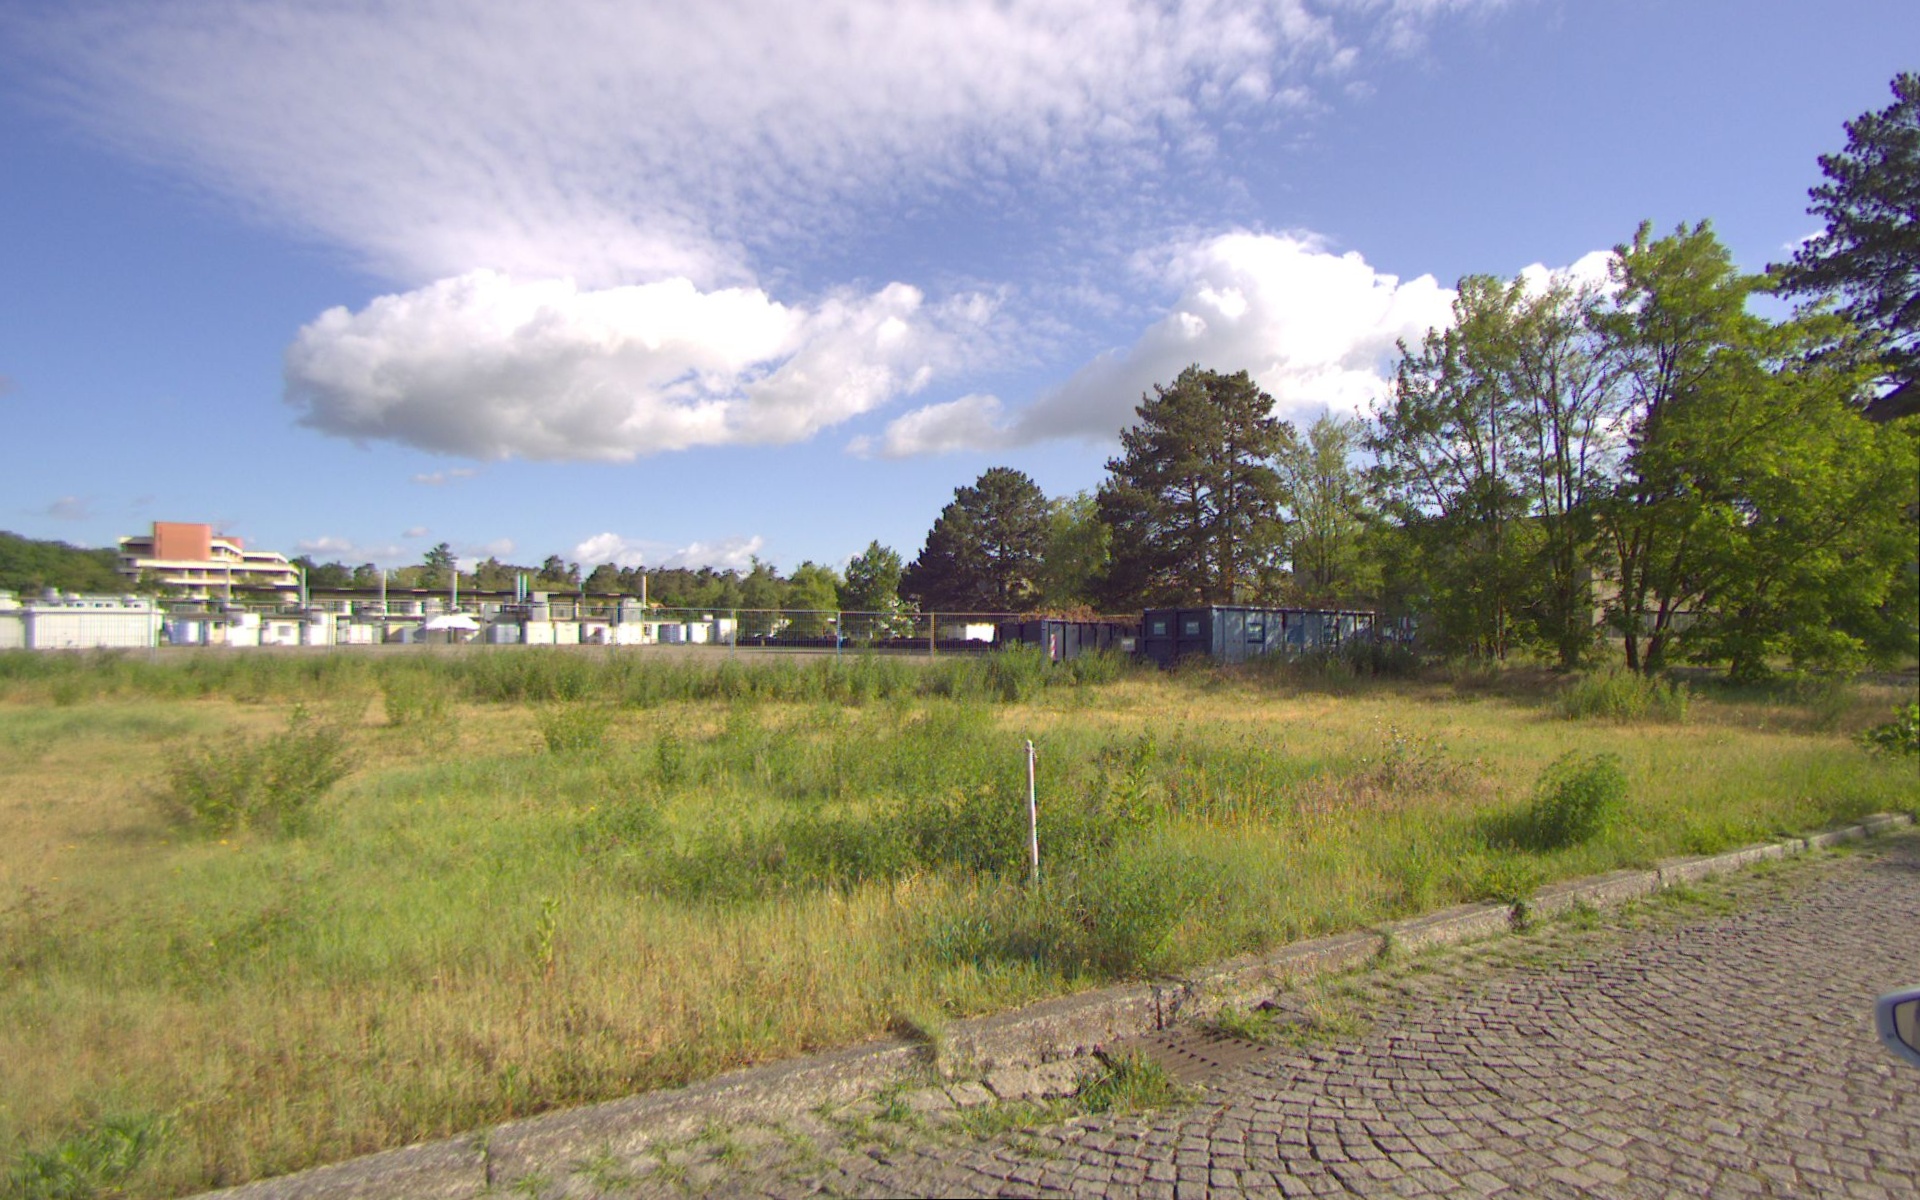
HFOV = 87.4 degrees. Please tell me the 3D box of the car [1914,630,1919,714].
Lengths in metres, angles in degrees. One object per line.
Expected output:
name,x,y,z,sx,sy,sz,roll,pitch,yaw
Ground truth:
car,20.222,1.341,18.157,1.978,1.621,3.965,1,-2,-32
